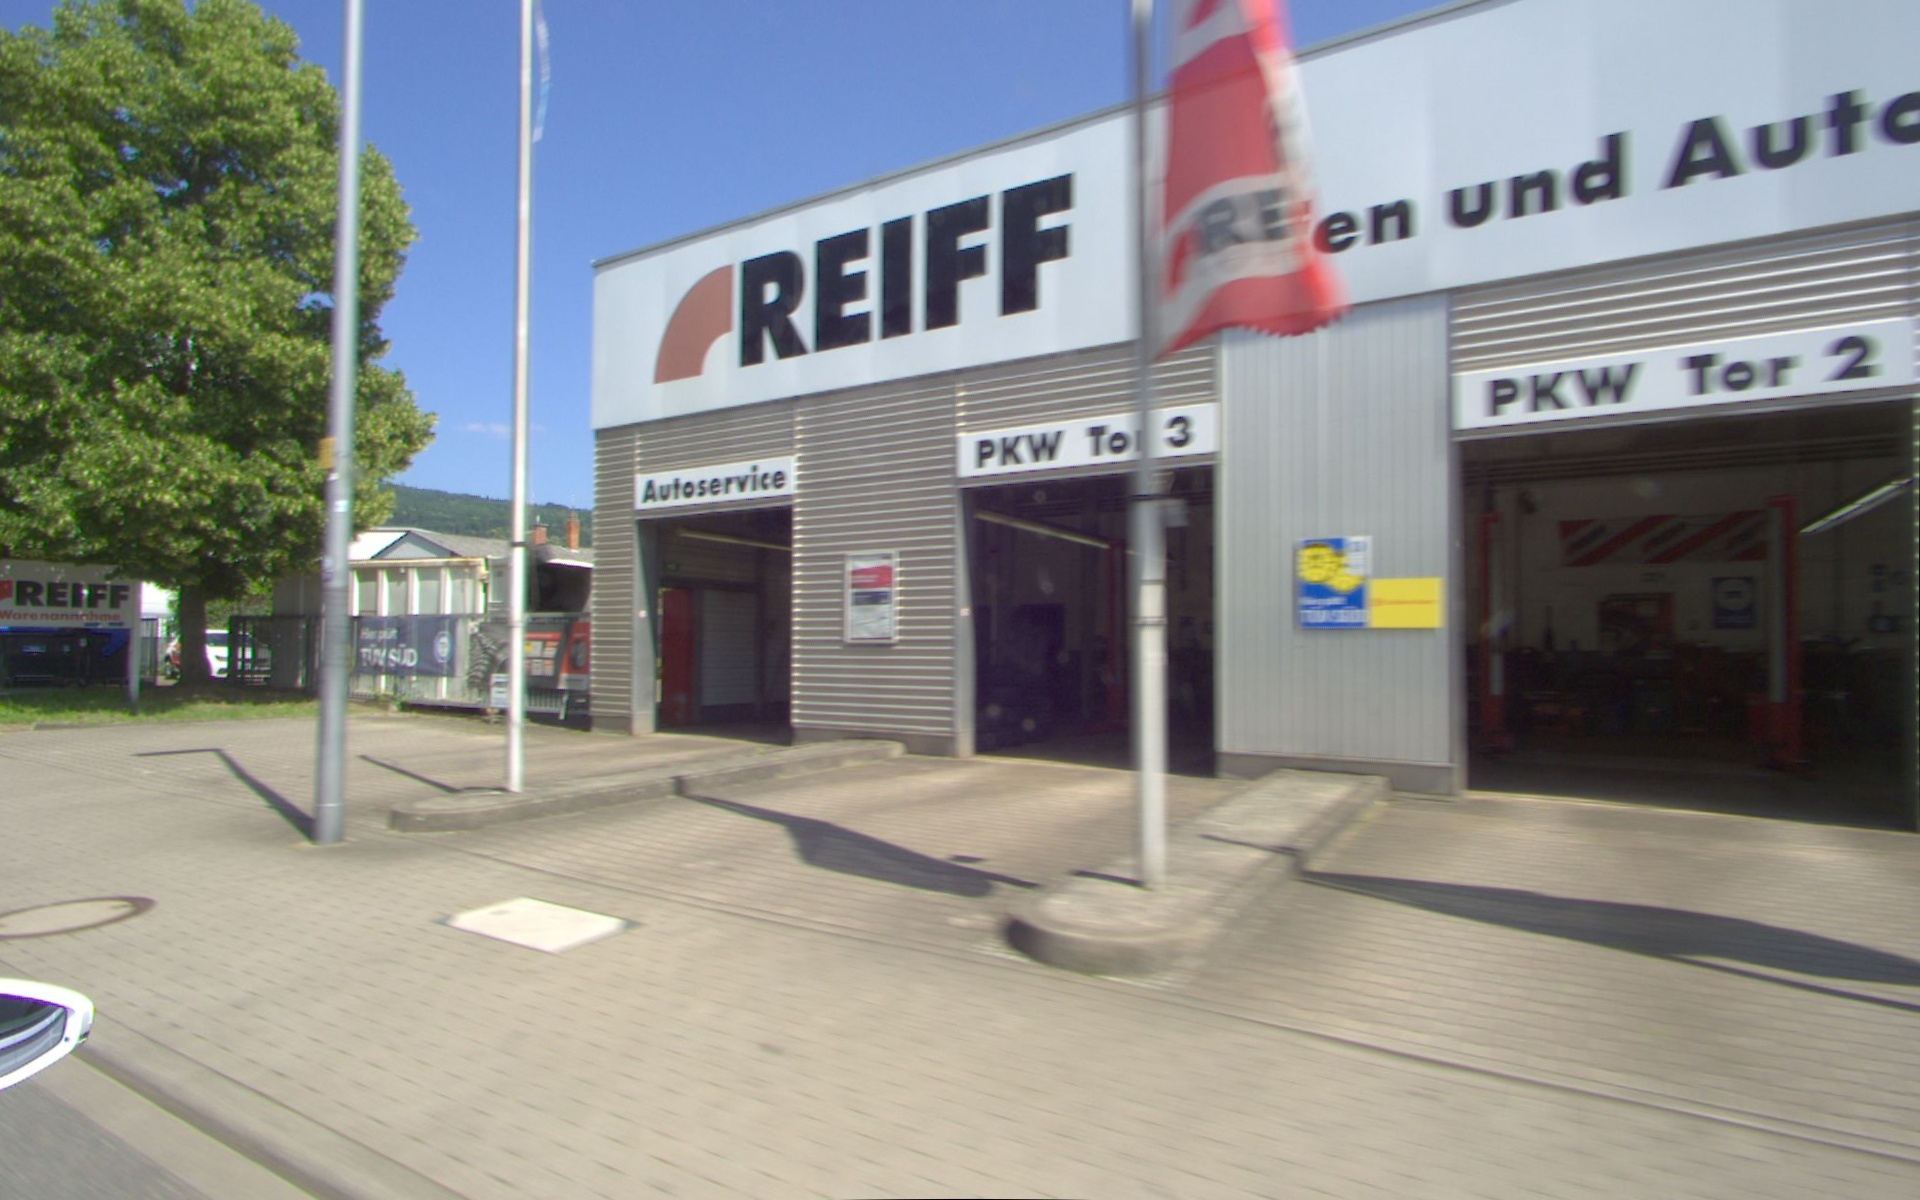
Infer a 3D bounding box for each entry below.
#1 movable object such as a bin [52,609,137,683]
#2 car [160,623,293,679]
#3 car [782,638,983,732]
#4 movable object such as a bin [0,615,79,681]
[{"bbox_3d":[-19.138,1.038,22.152,1.301,1.565,0.978,-2,-4,28],"label":"movable object such as a bin"},{"bbox_3d":[-20.963,1.437,28.589,3.943,1.478,1.741,0,-3,33],"label":"car"},{"bbox_3d":[-1.195,1.379,17.134,1.698,1.393,3.762,0,-3,27],"label":"car"},{"bbox_3d":[-20.875,1.094,22.604,1.304,1.447,0.880,2,-4,-33],"label":"movable object such as a bin"}]
